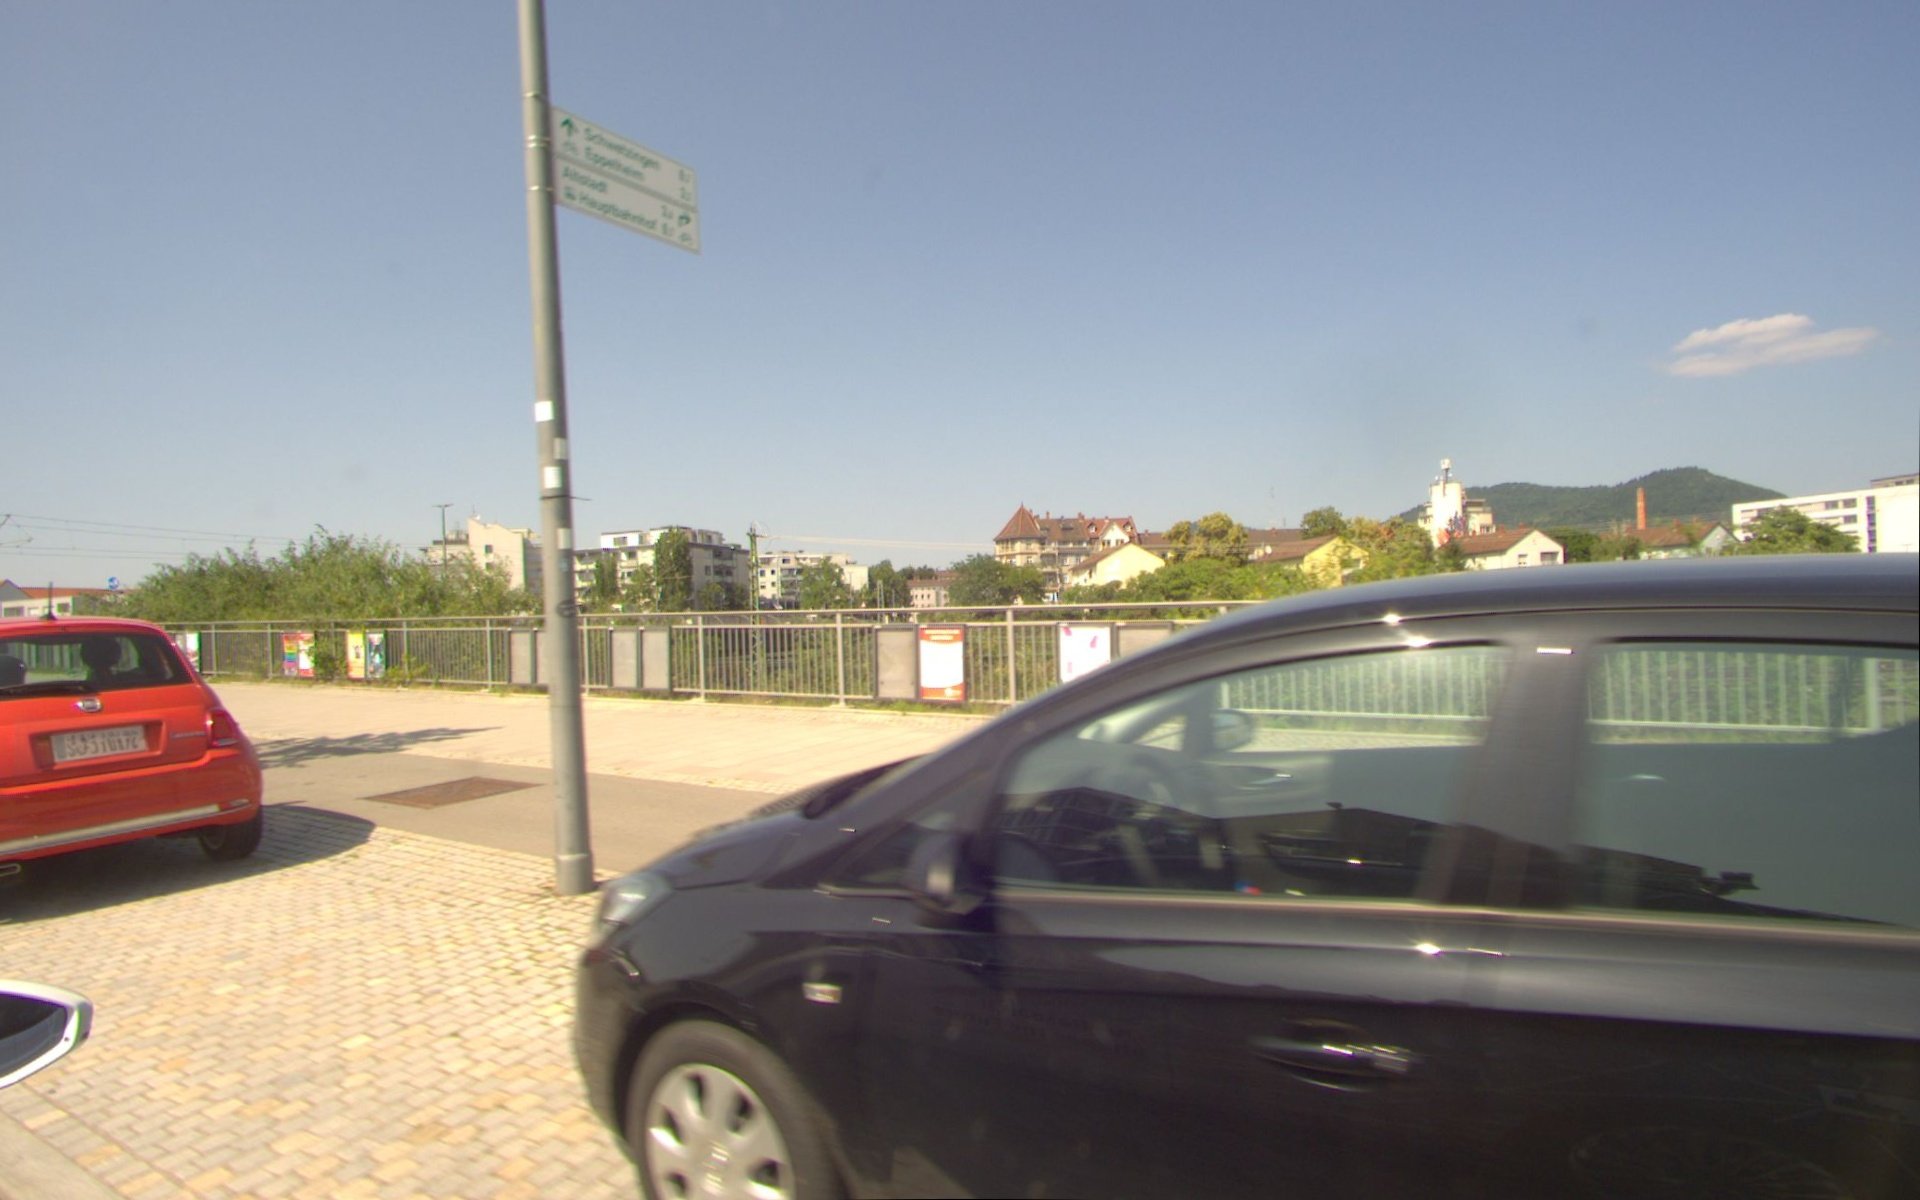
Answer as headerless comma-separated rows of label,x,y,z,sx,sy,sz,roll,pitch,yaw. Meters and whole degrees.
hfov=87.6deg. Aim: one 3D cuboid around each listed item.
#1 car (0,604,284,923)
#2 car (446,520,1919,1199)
car,-5.830,0.834,6.156,3.306,1.517,1.605,-1,1,34
car,0.850,0.652,2.124,3.943,1.445,1.657,-2,0,32
